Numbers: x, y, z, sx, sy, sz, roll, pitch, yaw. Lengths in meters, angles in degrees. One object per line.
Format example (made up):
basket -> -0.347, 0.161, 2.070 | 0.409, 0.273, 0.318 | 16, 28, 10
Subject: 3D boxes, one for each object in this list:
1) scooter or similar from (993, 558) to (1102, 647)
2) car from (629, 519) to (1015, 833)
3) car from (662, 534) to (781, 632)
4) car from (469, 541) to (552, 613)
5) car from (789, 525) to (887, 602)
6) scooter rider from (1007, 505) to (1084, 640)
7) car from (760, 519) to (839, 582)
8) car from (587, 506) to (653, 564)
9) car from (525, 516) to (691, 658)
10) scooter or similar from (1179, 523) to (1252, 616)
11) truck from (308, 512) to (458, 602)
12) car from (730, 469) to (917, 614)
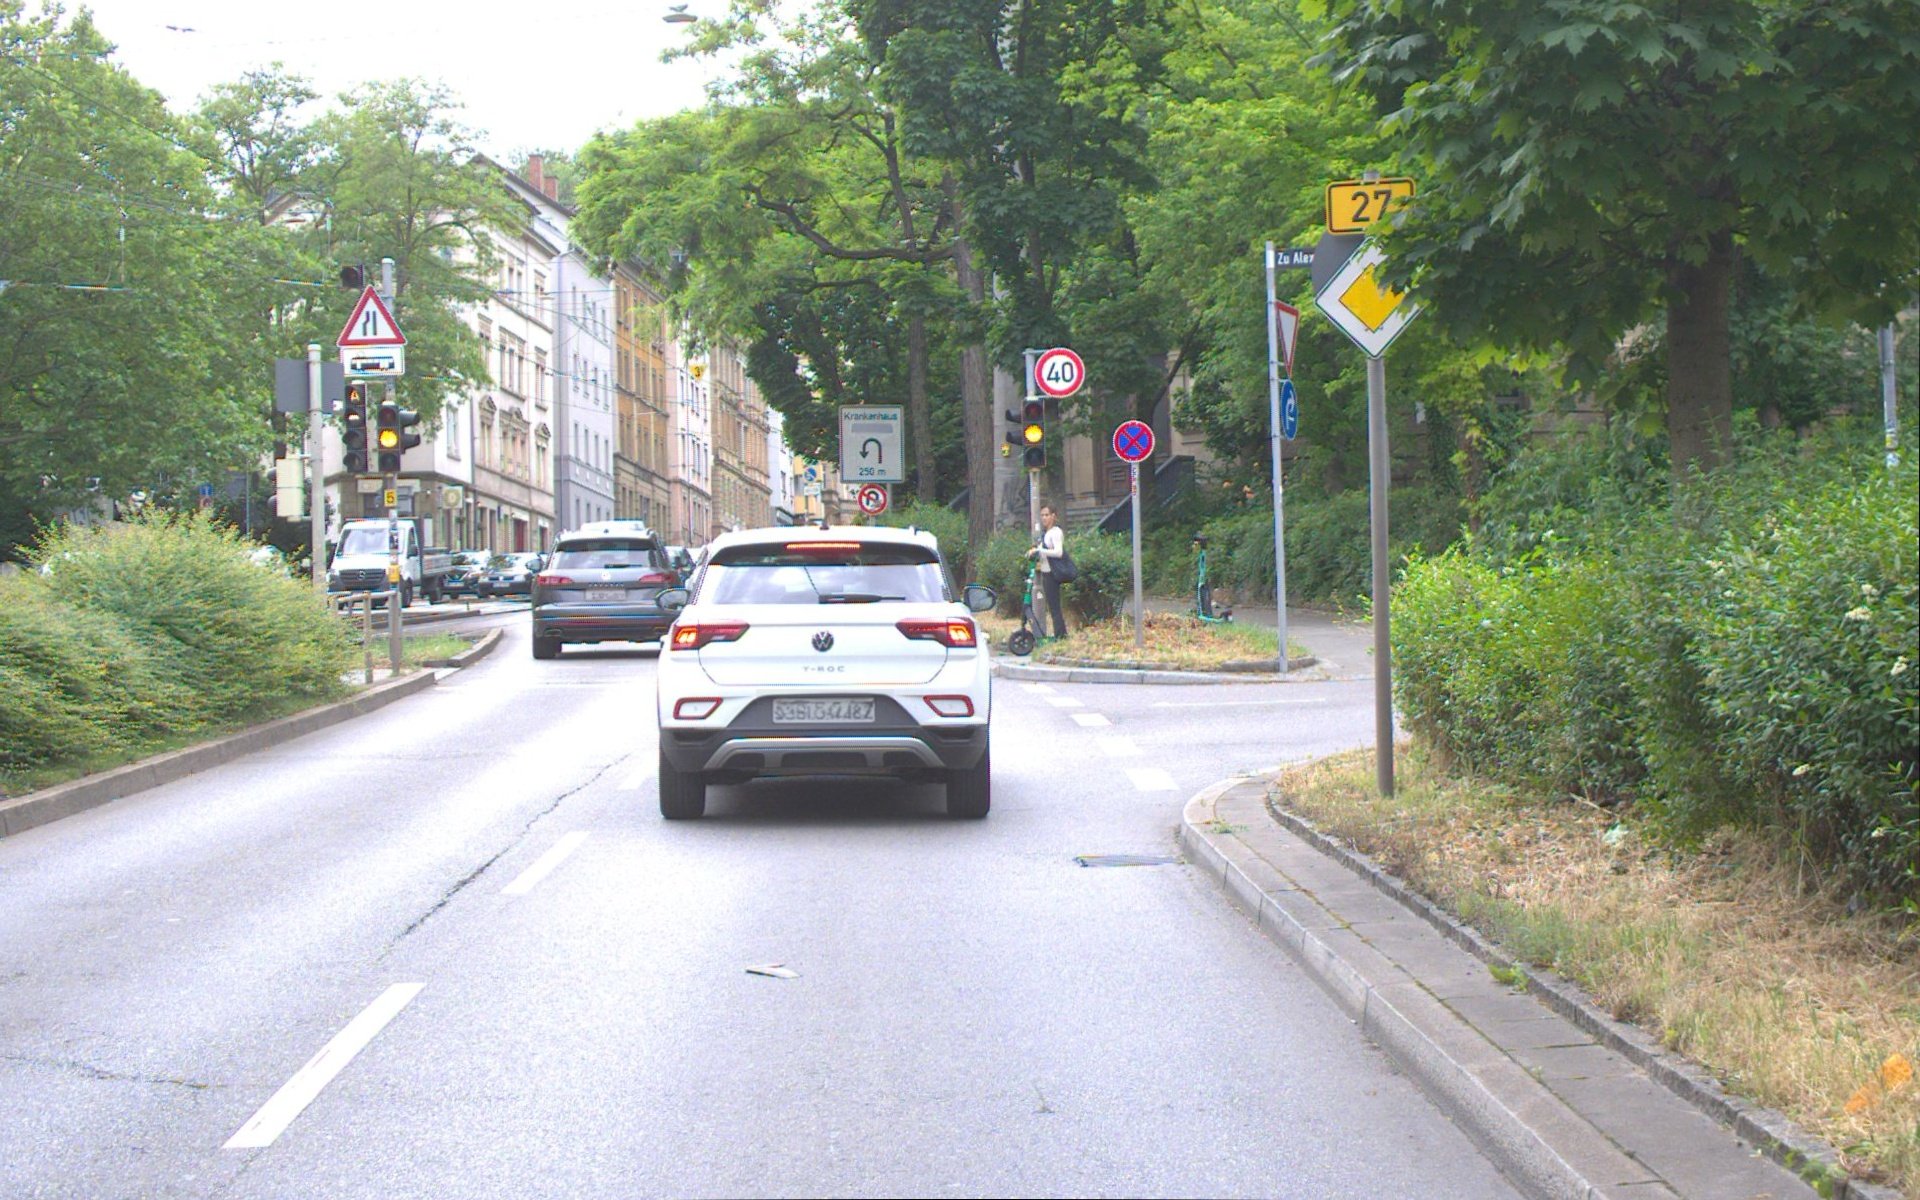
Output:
scooter or similar -> 1.030, 0.025, 40.495 | 1.187, 0.991, 0.531 | -2, 1, -7
car -> -0.802, 0.340, 19.451 | 1.938, 1.561, 4.047 | 1, 1, -3
car -> -4.236, -0.288, 61.300 | 1.993, 1.617, 4.000 | -2, 0, -3
car -> -13.713, -0.682, 105.085 | 1.993, 2.007, 4.000 | 1, -1, -1
car -> -3.581, -1.093, 102.052 | 2.422, 2.162, 6.033 | -1, 1, 2
scooter rider -> 1.005, -0.323, 40.494 | 0.777, 1.552, 0.532 | -2, 1, -7
car -> -5.699, -1.762, 122.793 | 2.422, 2.162, 6.033 | -1, 1, 0
car -> -12.374, -2.364, 125.300 | 1.993, 2.007, 4.000 | -2, 1, -1
car -> -4.592, -0.213, 45.353 | 1.839, 1.733, 4.001 | -1, 2, -1
scooter or similar -> 3.220, -0.378, 43.389 | 0.474, 1.096, 1.369 | -2, -1, -14
truck -> -14.986, -1.159, 89.608 | 2.422, 2.162, 6.033 | 2, 2, 4
car -> -1.716, -0.676, 42.126 | 1.902, 1.569, 3.835 | 2, -1, -8
